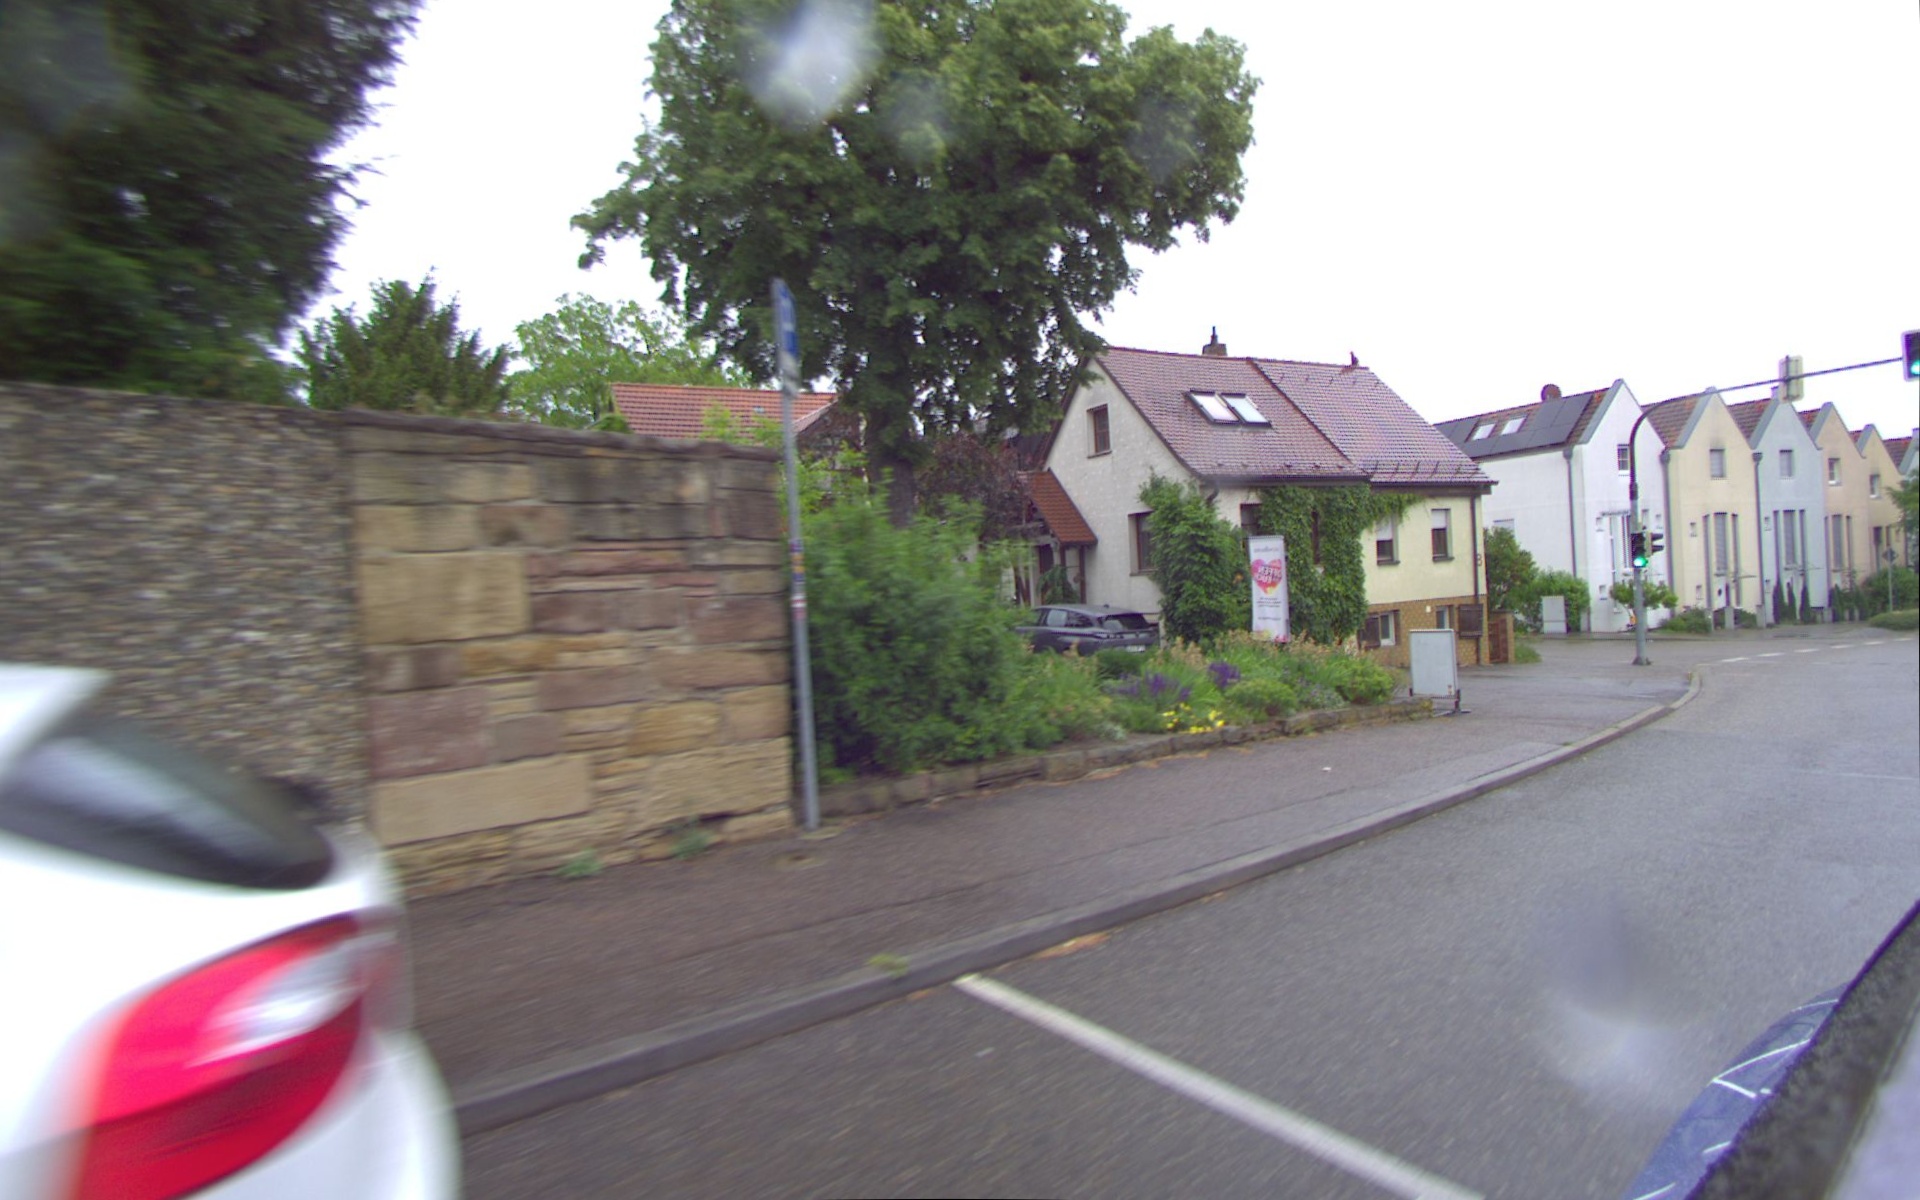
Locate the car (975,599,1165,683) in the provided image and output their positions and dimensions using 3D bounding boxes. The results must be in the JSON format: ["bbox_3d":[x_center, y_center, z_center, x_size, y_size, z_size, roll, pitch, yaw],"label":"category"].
[{"bbox_3d":[2.140,0.753,20.739,1.643,1.478,4.112,1,0,-33],"label":"car"}]

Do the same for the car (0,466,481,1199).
[{"bbox_3d":[-2.568,0.663,0.511,3.965,1.499,1.615,-1,-1,-39],"label":"car"}]

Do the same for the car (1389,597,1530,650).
[{"bbox_3d":[16.905,0.756,34.496,1.825,1.605,4.153,-2,0,-21],"label":"car"}]
